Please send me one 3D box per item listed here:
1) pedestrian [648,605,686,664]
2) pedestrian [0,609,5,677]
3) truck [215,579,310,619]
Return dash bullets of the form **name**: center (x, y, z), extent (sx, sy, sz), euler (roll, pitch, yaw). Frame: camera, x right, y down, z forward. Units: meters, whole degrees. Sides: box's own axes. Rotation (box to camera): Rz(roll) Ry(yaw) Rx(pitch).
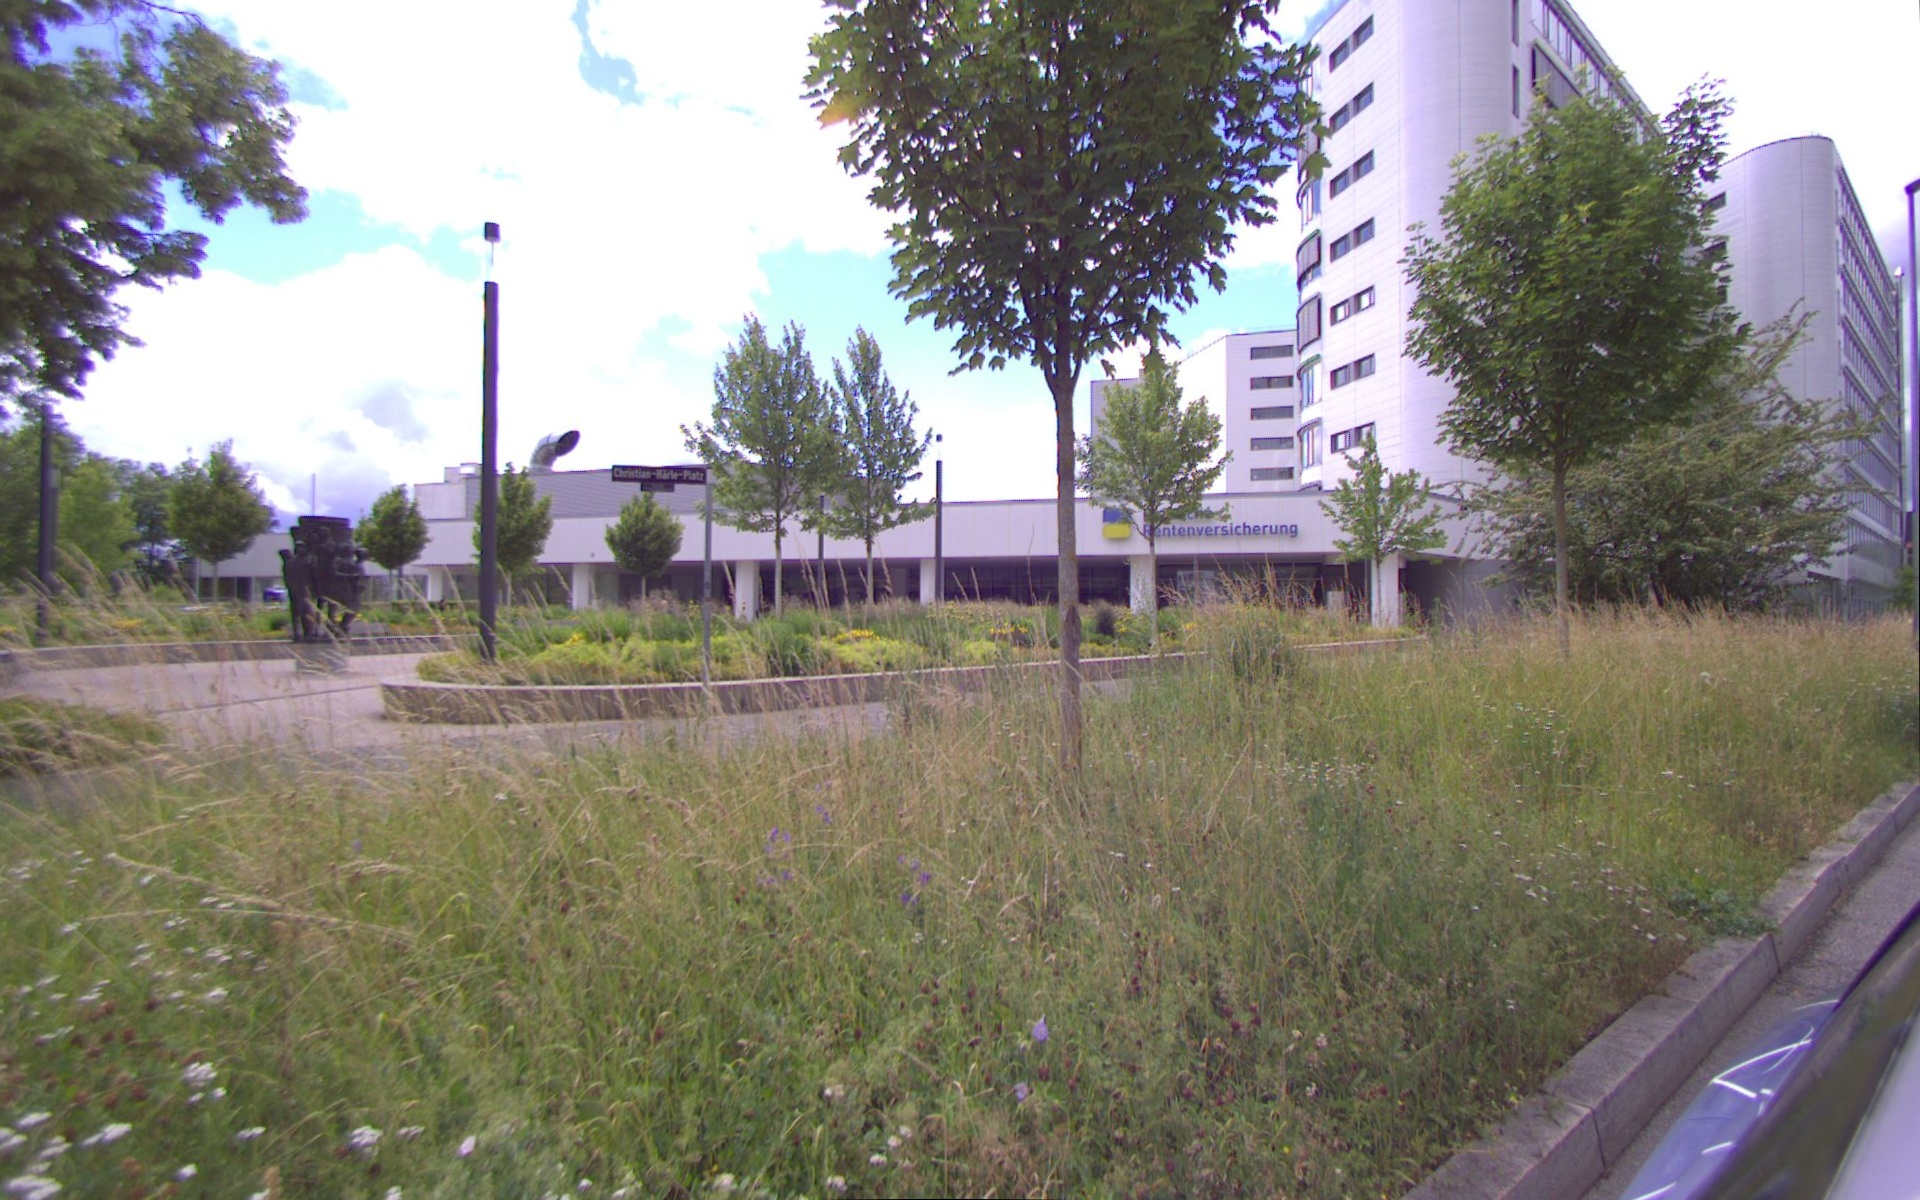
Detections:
- **pedestrian**: center (-8.354, 0.978, 28.868), extent (0.761, 1.646, 0.761), euler (0, 0, 14)
- **pedestrian**: center (-17.834, 0.779, 18.388), extent (0.621, 1.237, 0.620), euler (1, 0, -36)
- **truck**: center (-36.652, -0.074, 53.221), extent (3.941, 2.039, 1.991), euler (1, 0, 14)
